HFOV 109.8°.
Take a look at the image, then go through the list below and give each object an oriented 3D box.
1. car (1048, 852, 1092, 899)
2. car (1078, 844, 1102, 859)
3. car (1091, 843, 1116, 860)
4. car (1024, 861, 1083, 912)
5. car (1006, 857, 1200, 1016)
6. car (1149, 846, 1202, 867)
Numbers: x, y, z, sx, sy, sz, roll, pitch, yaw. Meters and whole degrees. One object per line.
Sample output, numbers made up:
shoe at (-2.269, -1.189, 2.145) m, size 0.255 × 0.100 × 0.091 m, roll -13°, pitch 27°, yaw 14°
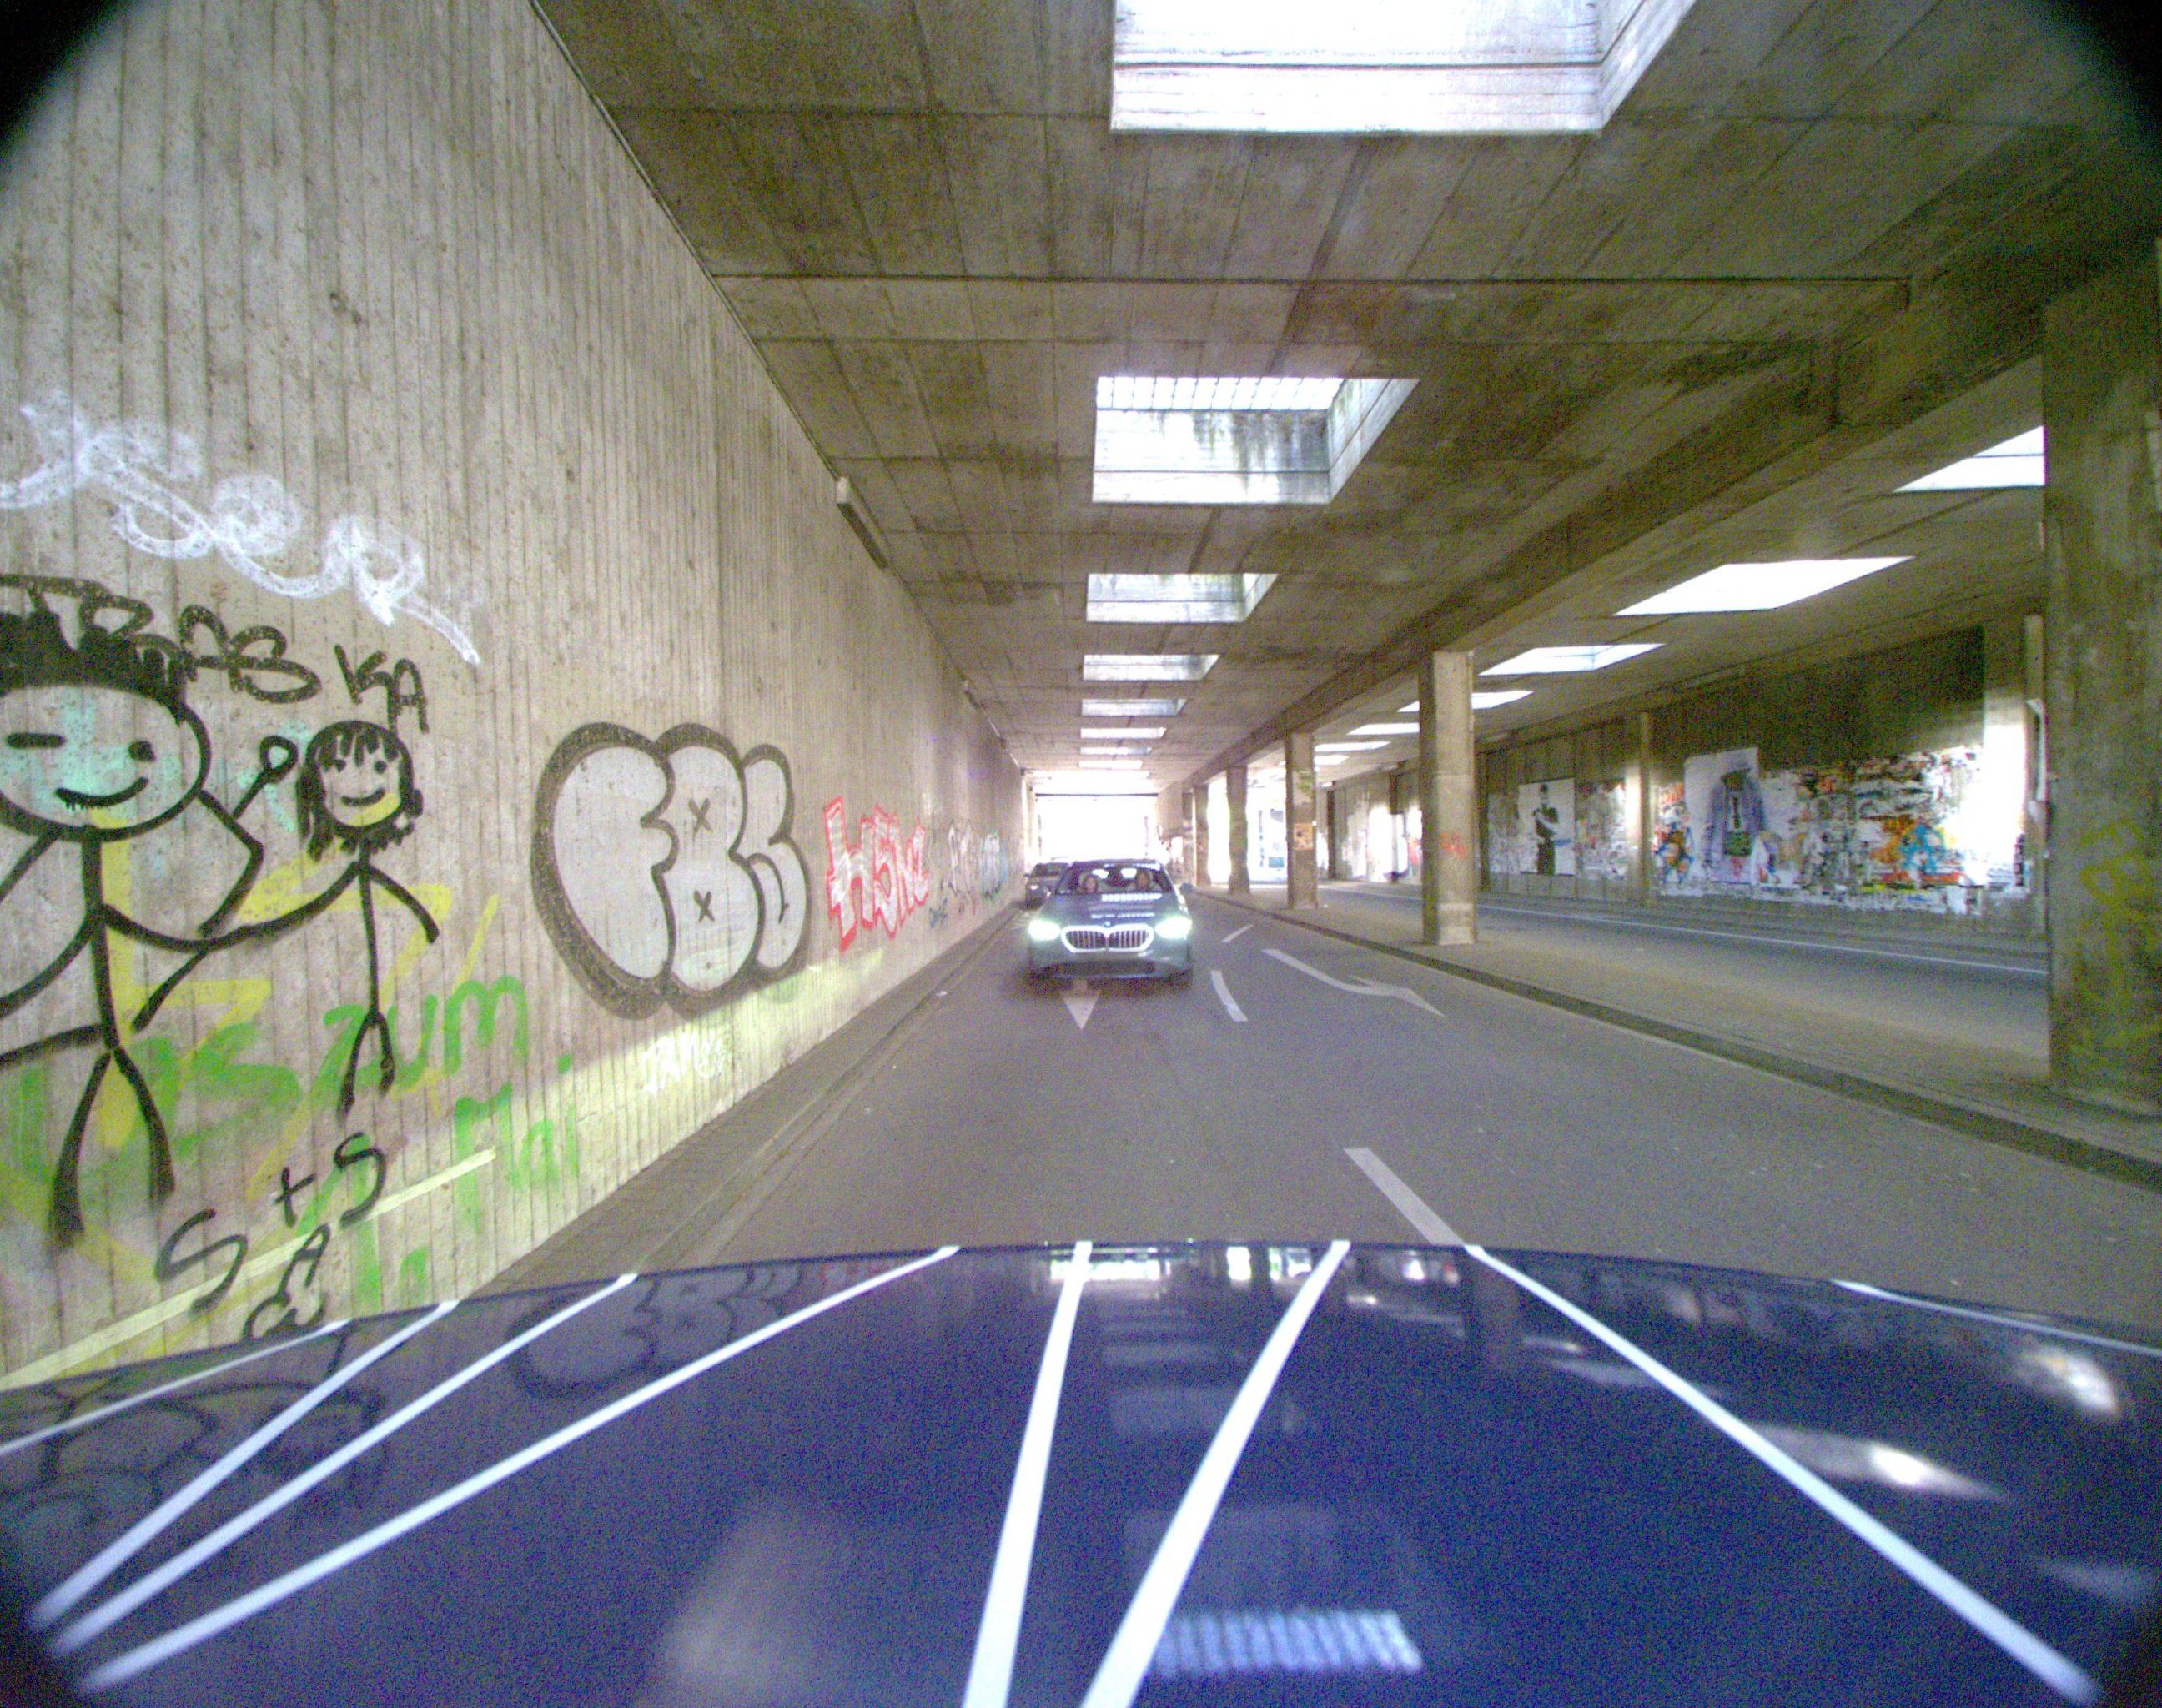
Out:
car at (-0.370, 0.773, 29.907) m, size 1.581 × 1.676 × 4.078 m, roll -2°, pitch 0°, yaw 1°
car at (1.199, -0.329, 103.551) m, size 2.361 × 2.002 × 5.146 m, roll -1°, pitch 0°, yaw -8°
car at (2.854, -0.323, 97.538) m, size 2.361 × 2.002 × 5.146 m, roll -1°, pitch 0°, yaw -8°
car at (-0.793, 0.954, 23.900) m, size 1.593 × 1.387 × 3.833 m, roll -2°, pitch 0°, yaw 1°
car at (0.412, 0.880, 10.520) m, size 1.998 × 1.594 × 5.177 m, roll -1°, pitch 0°, yaw 4°
car at (9.813, 0.240, 79.235) m, size 5.147 × 2.002 × 2.361 m, roll -1°, pitch 0°, yaw -1°
